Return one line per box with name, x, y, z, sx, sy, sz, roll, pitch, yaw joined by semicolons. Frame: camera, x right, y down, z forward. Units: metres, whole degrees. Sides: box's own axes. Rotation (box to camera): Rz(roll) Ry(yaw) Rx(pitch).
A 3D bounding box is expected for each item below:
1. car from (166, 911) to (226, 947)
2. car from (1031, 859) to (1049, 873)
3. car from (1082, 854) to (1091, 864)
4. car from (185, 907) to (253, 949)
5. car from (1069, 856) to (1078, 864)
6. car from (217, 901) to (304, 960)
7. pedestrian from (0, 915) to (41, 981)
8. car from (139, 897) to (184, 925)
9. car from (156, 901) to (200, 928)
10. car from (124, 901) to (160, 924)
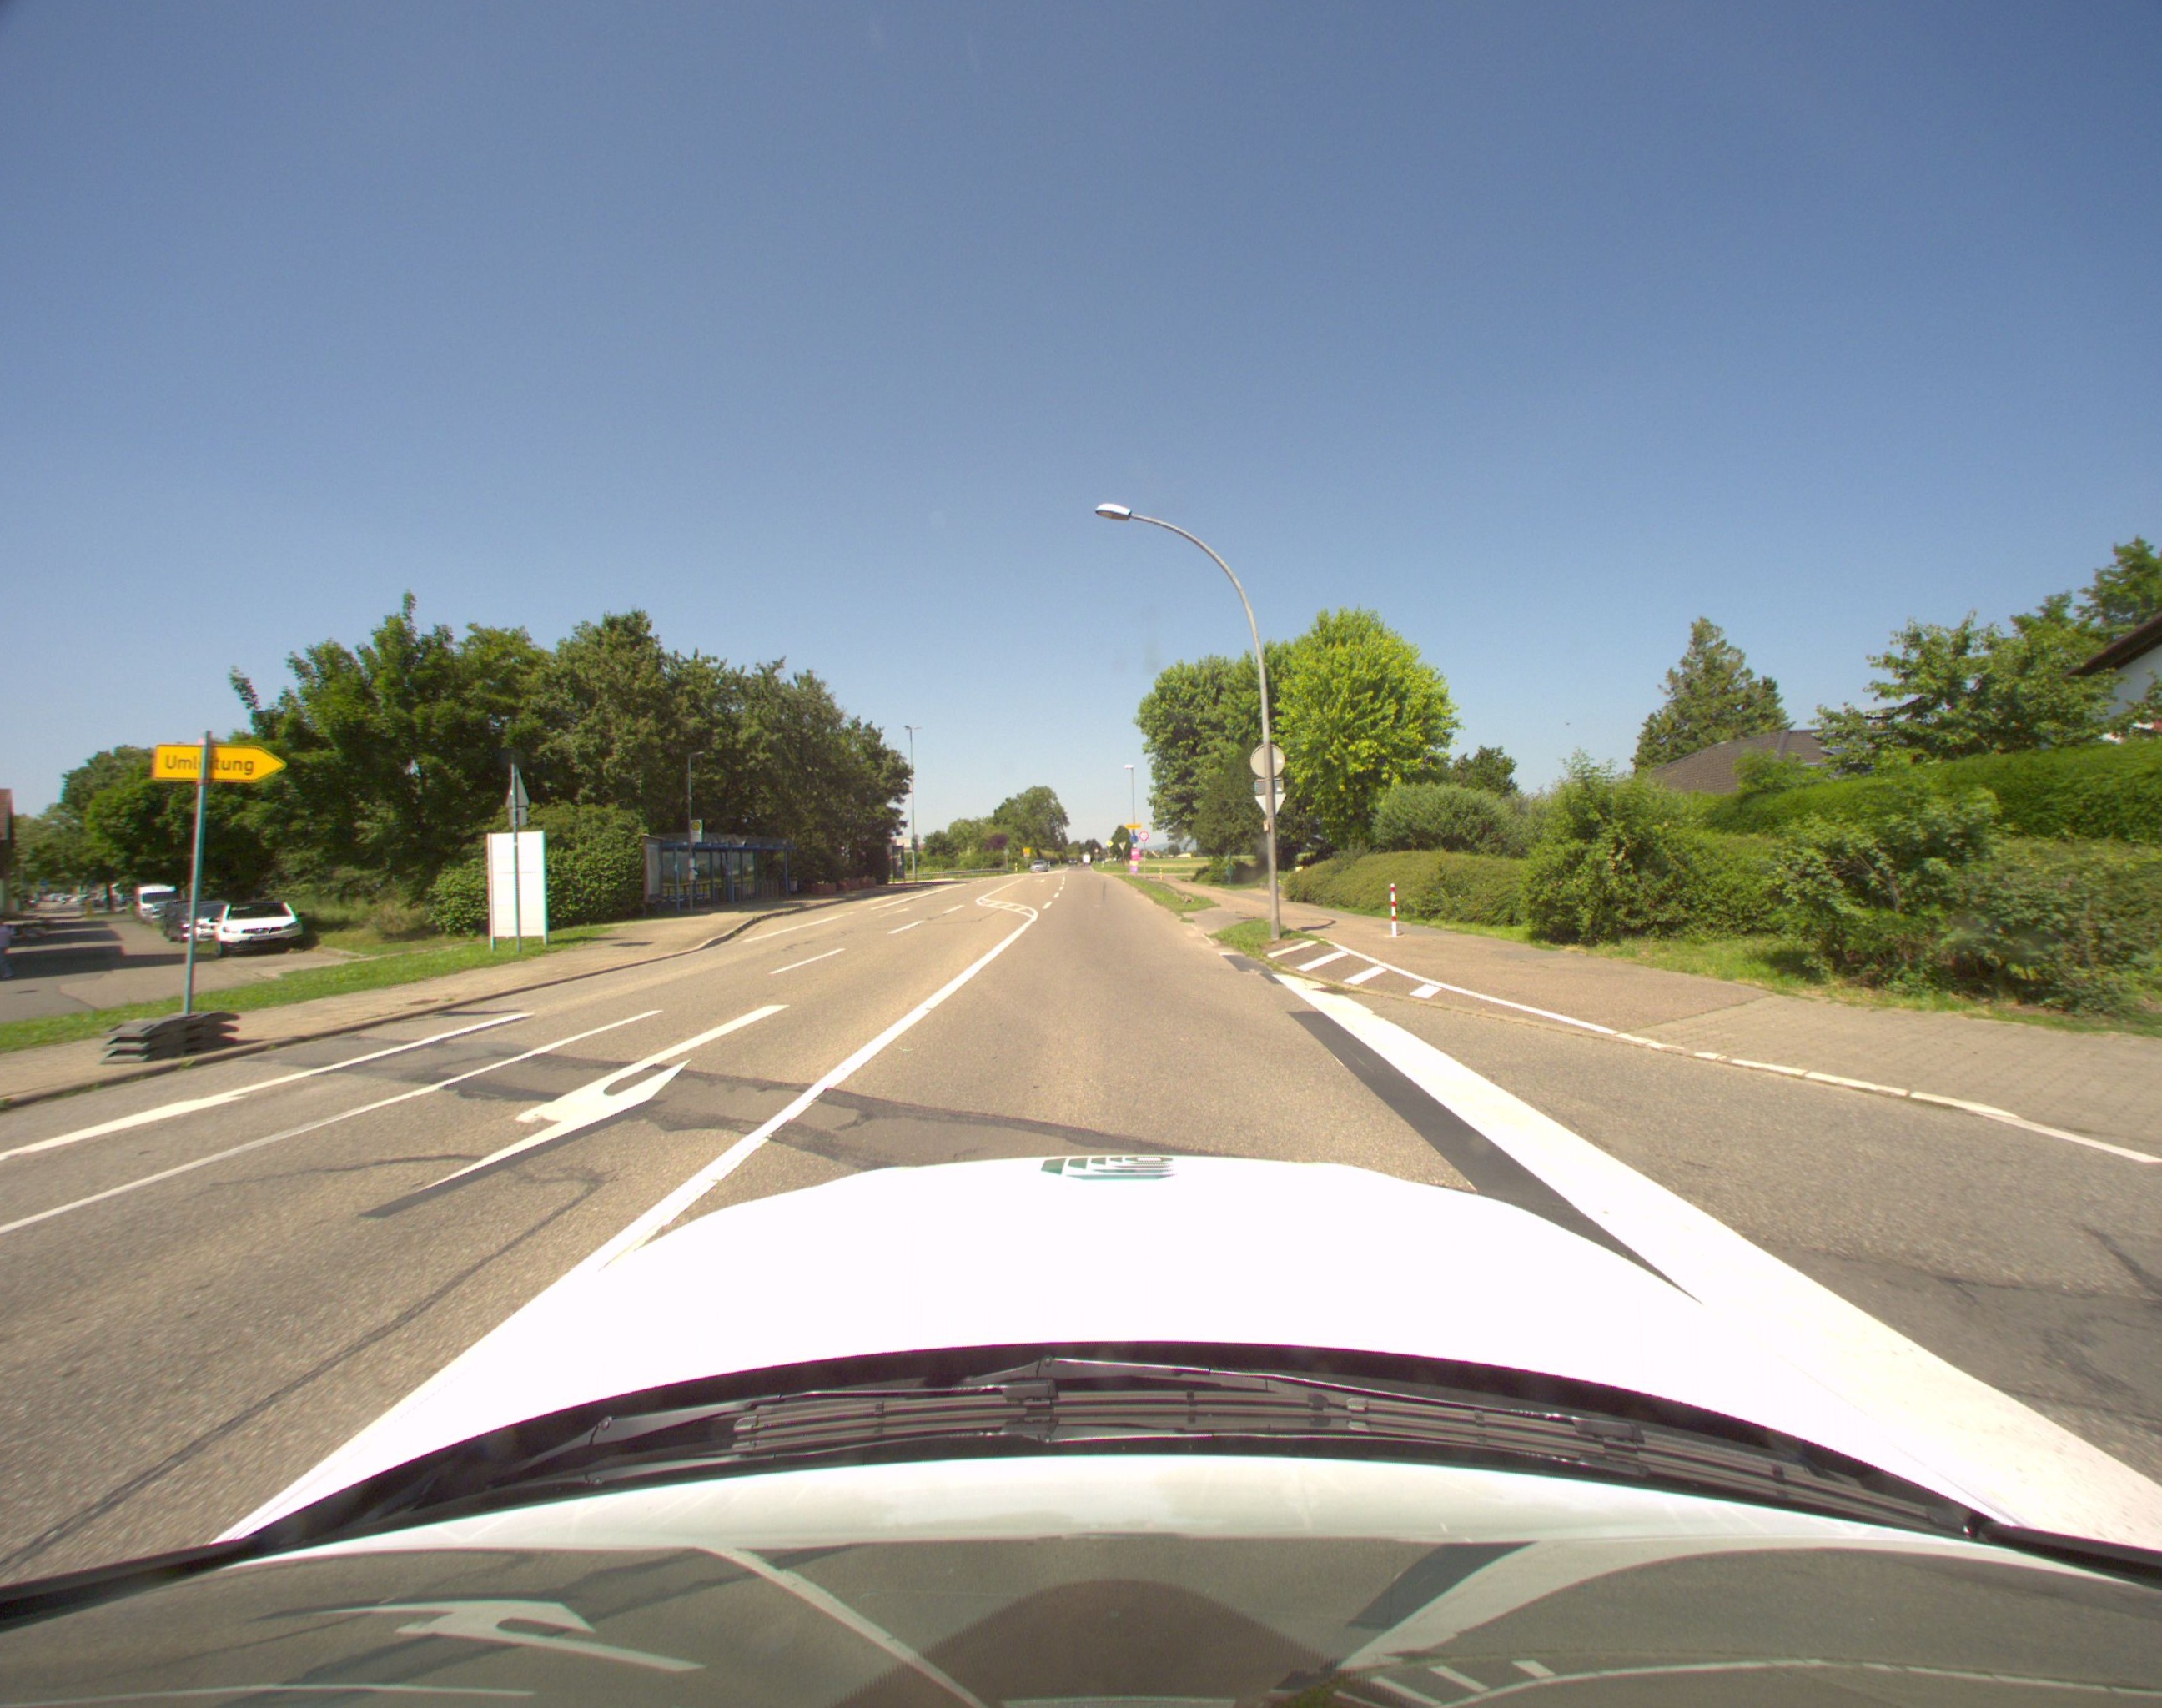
car;-35.703;2.990;32.834;3.513;1.204;1.462;-2;0;40
car;-4.759;1.369;94.844;1.629;1.471;4.419;-2;0;3
car;1.440;1.282;222.891;1.990;2.651;3.994;-2;0;-4
car;-32.577;2.758;30.813;3.337;1.348;1.693;-2;0;44
car;-1.855;1.670;211.748;2.136;1.951;5.248;-2;0;1
car;-25.845;2.338;25.698;1.817;1.568;3.537;-2;0;-45
pedestrian;-26.924;2.355;20.413;0.780;1.566;0.929;-2;0;30
car;-55.886;3.448;49.478;3.455;1.492;1.704;-2;0;40
car;-47.886;3.188;43.216;1.309;1.243;2.916;-2;0;-43
car;-70.582;4.378;61.224;3.455;1.492;1.704;-3;0;40
